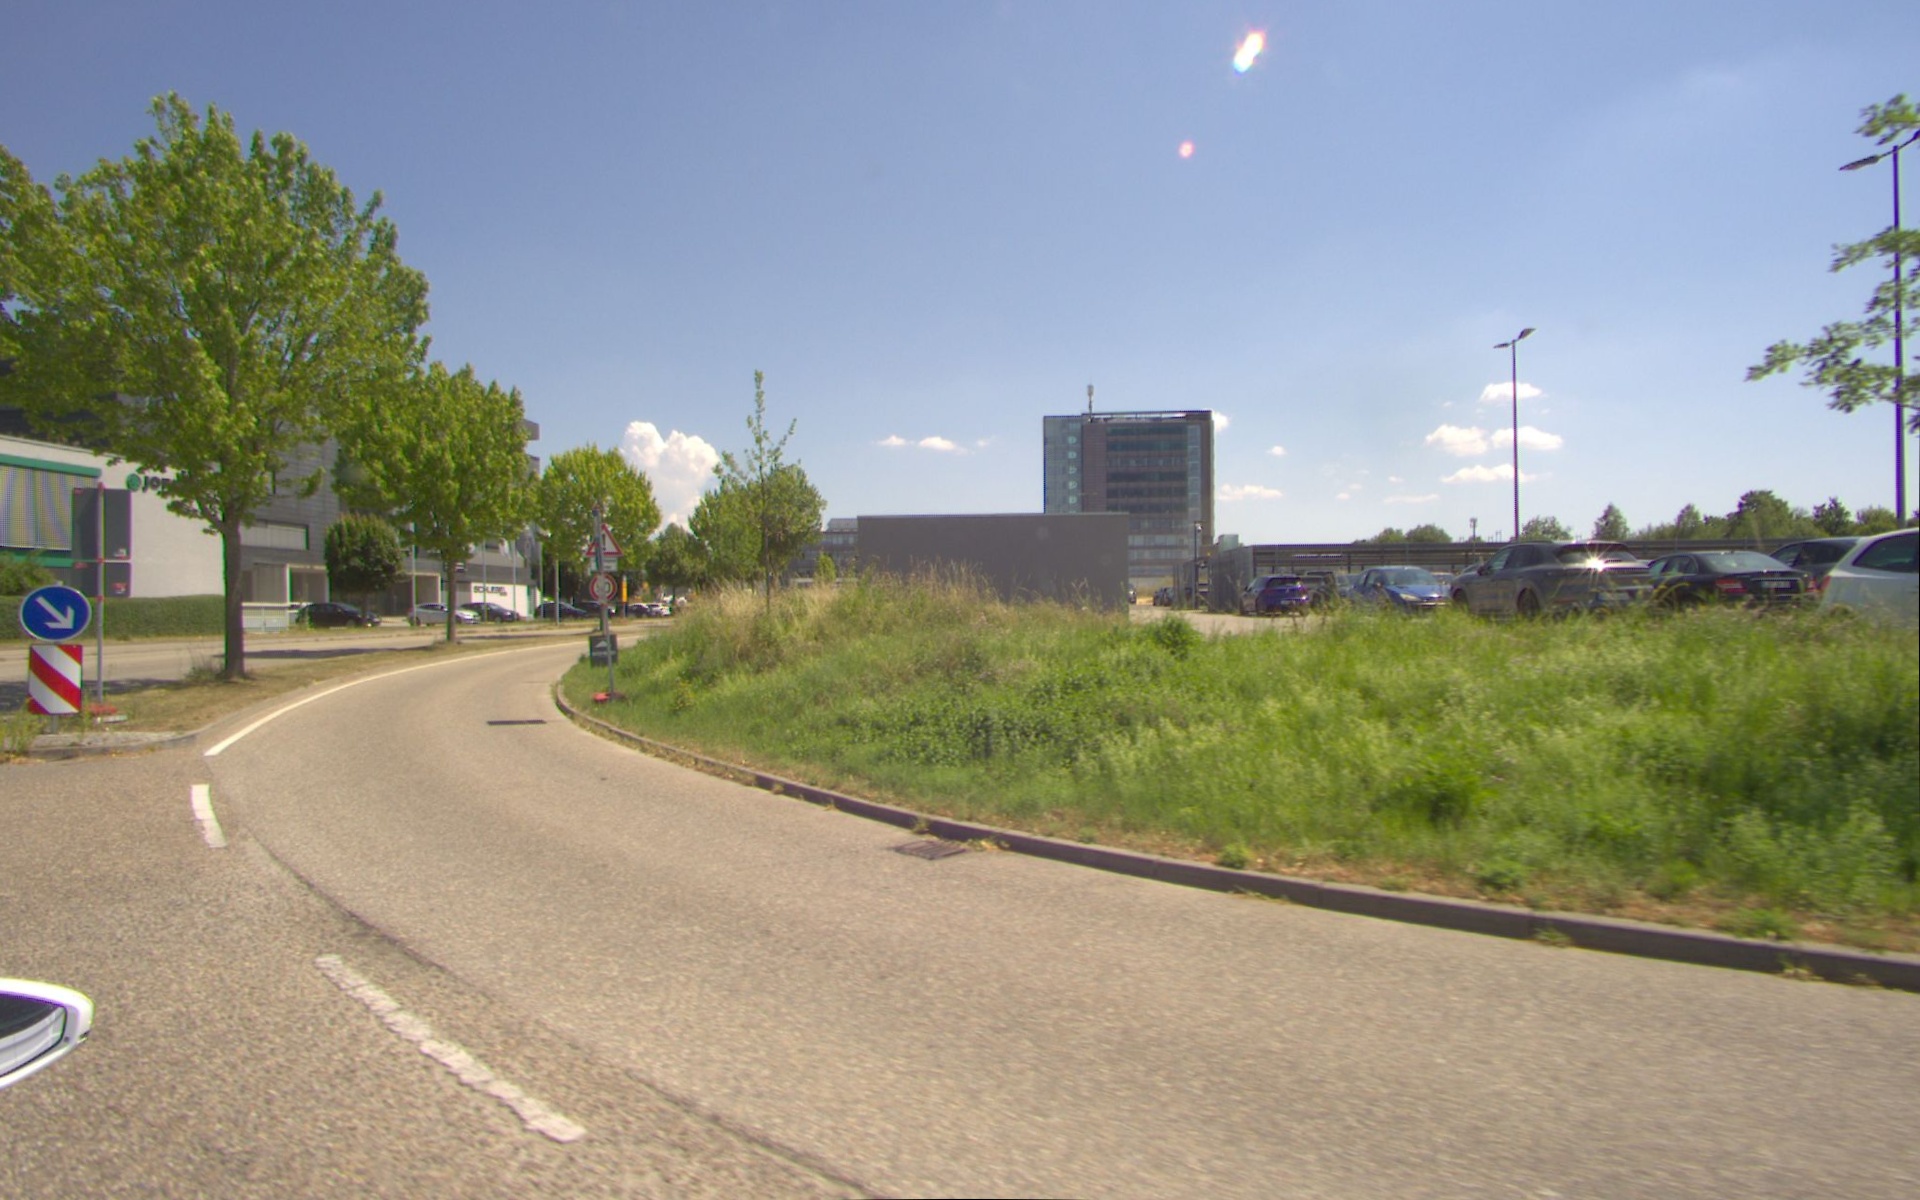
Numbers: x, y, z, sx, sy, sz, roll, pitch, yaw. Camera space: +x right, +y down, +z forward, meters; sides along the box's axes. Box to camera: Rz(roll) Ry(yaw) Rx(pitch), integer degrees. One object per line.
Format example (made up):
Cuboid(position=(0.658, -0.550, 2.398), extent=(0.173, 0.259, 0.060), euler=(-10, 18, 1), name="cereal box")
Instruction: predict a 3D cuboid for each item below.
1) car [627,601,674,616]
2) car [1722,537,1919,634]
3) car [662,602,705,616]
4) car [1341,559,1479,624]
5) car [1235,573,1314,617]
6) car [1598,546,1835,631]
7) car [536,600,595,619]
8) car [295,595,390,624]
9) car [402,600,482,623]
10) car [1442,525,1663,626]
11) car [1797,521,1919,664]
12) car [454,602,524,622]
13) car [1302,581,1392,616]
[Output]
Cuboid(position=(-28.773, 0.751, 93.189), extent=(3.816, 1.291, 1.705), euler=(-1, 1, 4), name="car")
Cuboid(position=(16.444, -0.287, 18.709), extent=(1.735, 1.619, 3.638), euler=(-1, 1, 3), name="car")
Cuboid(position=(-27.684, 0.918, 100.280), extent=(3.769, 1.291, 1.609), euler=(-1, 1, 4), name="car")
Cuboid(position=(11.035, -0.203, 24.823), extent=(1.621, 1.465, 3.638), euler=(-1, 1, -3), name="car")
Cuboid(position=(11.020, -0.176, 35.295), extent=(1.556, 1.428, 3.474), euler=(-1, 1, -3), name="car")
Cuboid(position=(13.813, -0.218, 18.597), extent=(1.620, 1.381, 3.847), euler=(-2, 1, 3), name="car")
Cuboid(position=(-30.020, 0.728, 76.262), extent=(3.816, 1.291, 1.705), euler=(-1, 1, 4), name="car")
Cuboid(position=(-32.011, 0.471, 51.975), extent=(3.842, 1.398, 1.704), euler=(-1, 1, 4), name="car")
Cuboid(position=(-31.793, 0.724, 61.519), extent=(4.193, 1.197, 1.494), euler=(-2, -2, 4), name="car")
Cuboid(position=(11.232, -0.356, 19.417), extent=(1.742, 1.712, 4.606), euler=(0, -2, 3), name="car")
Cuboid(position=(9.493, -0.109, 8.609), extent=(1.544, 1.314, 3.877), euler=(-3, -1, 5), name="car")
Cuboid(position=(-31.378, 0.816, 66.795), extent=(3.816, 1.198, 1.705), euler=(-1, 1, 4), name="car")
Cuboid(position=(13.507, -0.057, 35.162), extent=(1.539, 1.099, 3.746), euler=(-3, 1, -3), name="car")
